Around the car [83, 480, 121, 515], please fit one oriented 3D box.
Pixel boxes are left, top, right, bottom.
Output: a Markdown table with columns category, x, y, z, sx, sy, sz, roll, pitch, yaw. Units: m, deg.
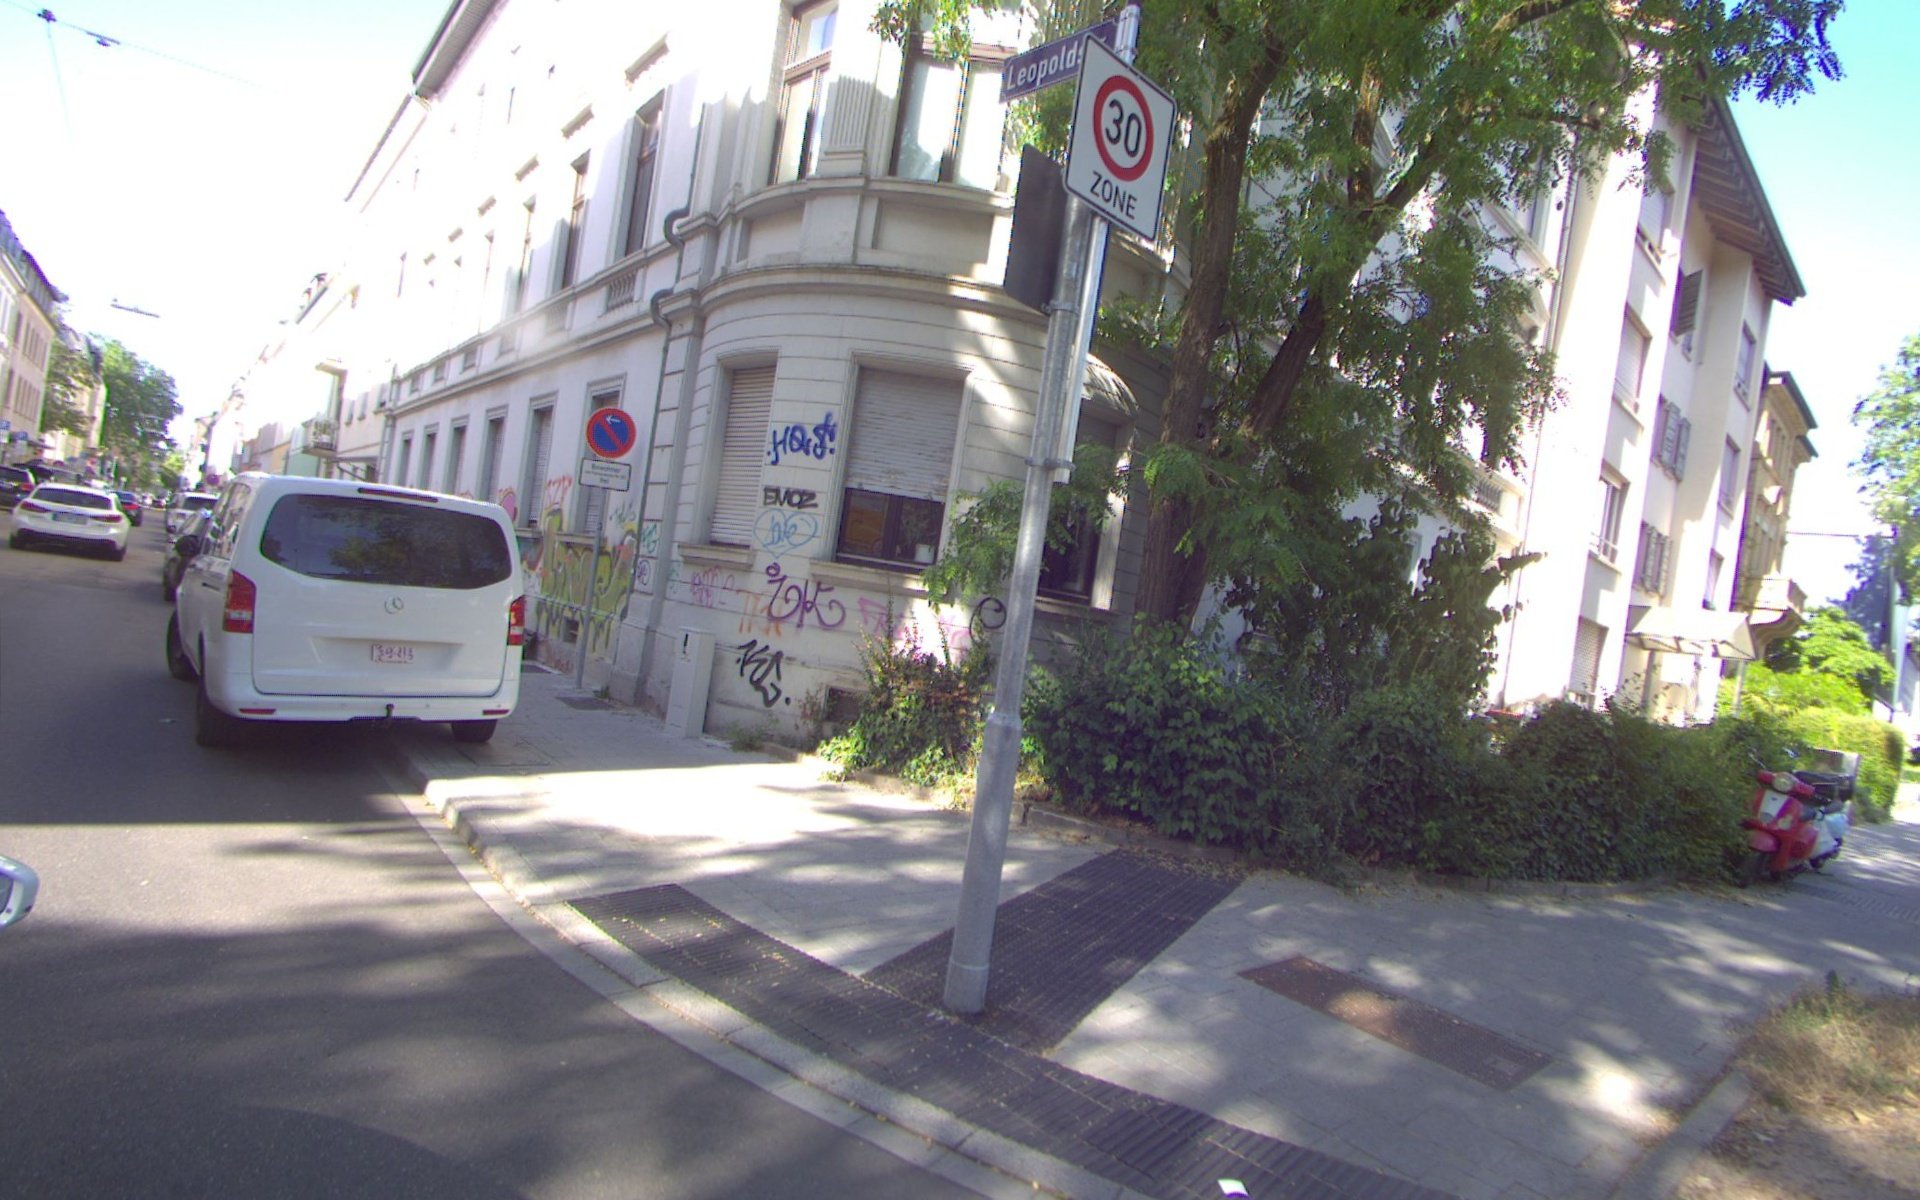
| category | x | y | z | sx | sy | sz | roll | pitch | yaw |
| --- | --- | --- | --- | --- | --- | --- | --- | --- | --- |
| car | -55.447 | -6.604 | 65.010 | 1.642 | 1.889 | 3.953 | 9 | -1 | -41 |

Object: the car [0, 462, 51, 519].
| category | x | y | z | sx | sy | sz | roll | pitch | yaw |
| --- | --- | --- | --- | --- | --- | --- | --- | --- | --- |
| car | -36.804 | -4.334 | 39.110 | 1.877 | 1.773 | 4.487 | 13 | -3 | -42 |

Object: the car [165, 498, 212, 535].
| category | x | y | z | sx | sy | sz | roll | pitch | yaw |
| --- | --- | --- | --- | --- | --- | --- | --- | --- | --- |
| car | -41.471 | -4.517 | 54.054 | 1.736 | 1.587 | 3.987 | 9 | -1 | -39 |

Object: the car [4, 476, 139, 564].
| category | x | y | z | sx | sy | sz | roll | pitch | yaw |
| --- | --- | --- | --- | --- | --- | --- | --- | --- | --- |
| car | -19.205 | -1.724 | 21.910 | 1.825 | 1.504 | 4.014 | 7 | 0 | -38 |

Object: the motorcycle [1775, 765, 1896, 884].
| category | x | y | z | sx | sy | sz | roll | pitch | yaw |
| --- | --- | --- | --- | --- | --- | --- | --- | --- | --- |
| motorcycle | 10.320 | 2.628 | 11.836 | 1.788 | 1.200 | 0.592 | 9 | -1 | -36 |

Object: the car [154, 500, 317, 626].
| category | x | y | z | sx | sy | sz | roll | pitch | yaw |
| --- | --- | --- | --- | --- | --- | --- | --- | --- | --- |
| car | -12.346 | -0.710 | 17.018 | 1.809 | 1.536 | 4.675 | 12 | -2 | -39 |

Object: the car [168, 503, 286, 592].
| category | x | y | z | sx | sy | sz | roll | pitch | yaw |
| --- | --- | --- | --- | --- | --- | --- | --- | --- | --- |
| car | -16.132 | -1.197 | 22.073 | 1.741 | 1.464 | 3.826 | 12 | -2 | -39 |

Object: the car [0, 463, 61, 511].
| category | x | y | z | sx | sy | sz | roll | pitch | yaw |
| --- | --- | --- | --- | --- | --- | --- | --- | --- | --- |
| car | -42.595 | -5.158 | 45.481 | 2.432 | 1.725 | 5.185 | 10 | -2 | -39 |

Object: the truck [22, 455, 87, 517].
| category | x | y | z | sx | sy | sz | roll | pitch | yaw |
| --- | --- | --- | --- | --- | --- | --- | --- | --- | --- |
| truck | -46.861 | -5.814 | 52.004 | 2.151 | 2.620 | 6.173 | 8 | -2 | -43 |

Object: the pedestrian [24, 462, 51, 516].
| category | x | y | z | sx | sy | sz | roll | pitch | yaw |
| --- | --- | --- | --- | --- | --- | --- | --- | --- | --- |
| pedestrian | -40.473 | -4.865 | 44.133 | 0.616 | 2.254 | 0.681 | 8 | -1 | -39 |

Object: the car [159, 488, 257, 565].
| category | x | y | z | sx | sy | sz | roll | pitch | yaw |
| --- | --- | --- | --- | --- | --- | --- | --- | --- | --- |
| car | -22.444 | -2.222 | 29.934 | 1.998 | 1.804 | 4.884 | 9 | -1 | -39 |

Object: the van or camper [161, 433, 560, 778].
| category | x | y | z | sx | sy | sz | roll | pitch | yaw |
| --- | --- | --- | --- | --- | --- | --- | --- | --- | --- |
| van or camper | -5.303 | -0.077 | 8.469 | 1.887 | 2.037 | 4.973 | 9 | -1 | -41 |

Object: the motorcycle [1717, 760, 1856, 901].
| category | x | y | z | sx | sy | sz | roll | pitch | yaw |
| --- | --- | --- | --- | --- | --- | --- | --- | --- | --- |
| motorcycle | 8.217 | 2.271 | 9.979 | 1.543 | 1.200 | 0.592 | 9 | -1 | -36 |

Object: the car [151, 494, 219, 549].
| category | x | y | z | sx | sy | sz | roll | pitch | yaw |
| --- | --- | --- | --- | --- | --- | --- | --- | --- | --- |
| car | -28.908 | -2.943 | 37.483 | 1.577 | 1.650 | 3.638 | 11 | -2 | -41 |

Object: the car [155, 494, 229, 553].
| category | x | y | z | sx | sy | sz | roll | pitch | yaw |
| --- | --- | --- | --- | --- | --- | --- | --- | --- | --- |
| car | -26.140 | -2.630 | 34.192 | 1.736 | 1.587 | 3.987 | 9 | -1 | -39 |

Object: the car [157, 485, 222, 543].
| category | x | y | z | sx | sy | sz | roll | pitch | yaw |
| --- | --- | --- | --- | --- | --- | --- | --- | --- | --- |
| car | -32.019 | -3.554 | 41.745 | 1.776 | 1.984 | 4.287 | 9 | -1 | -40 |
